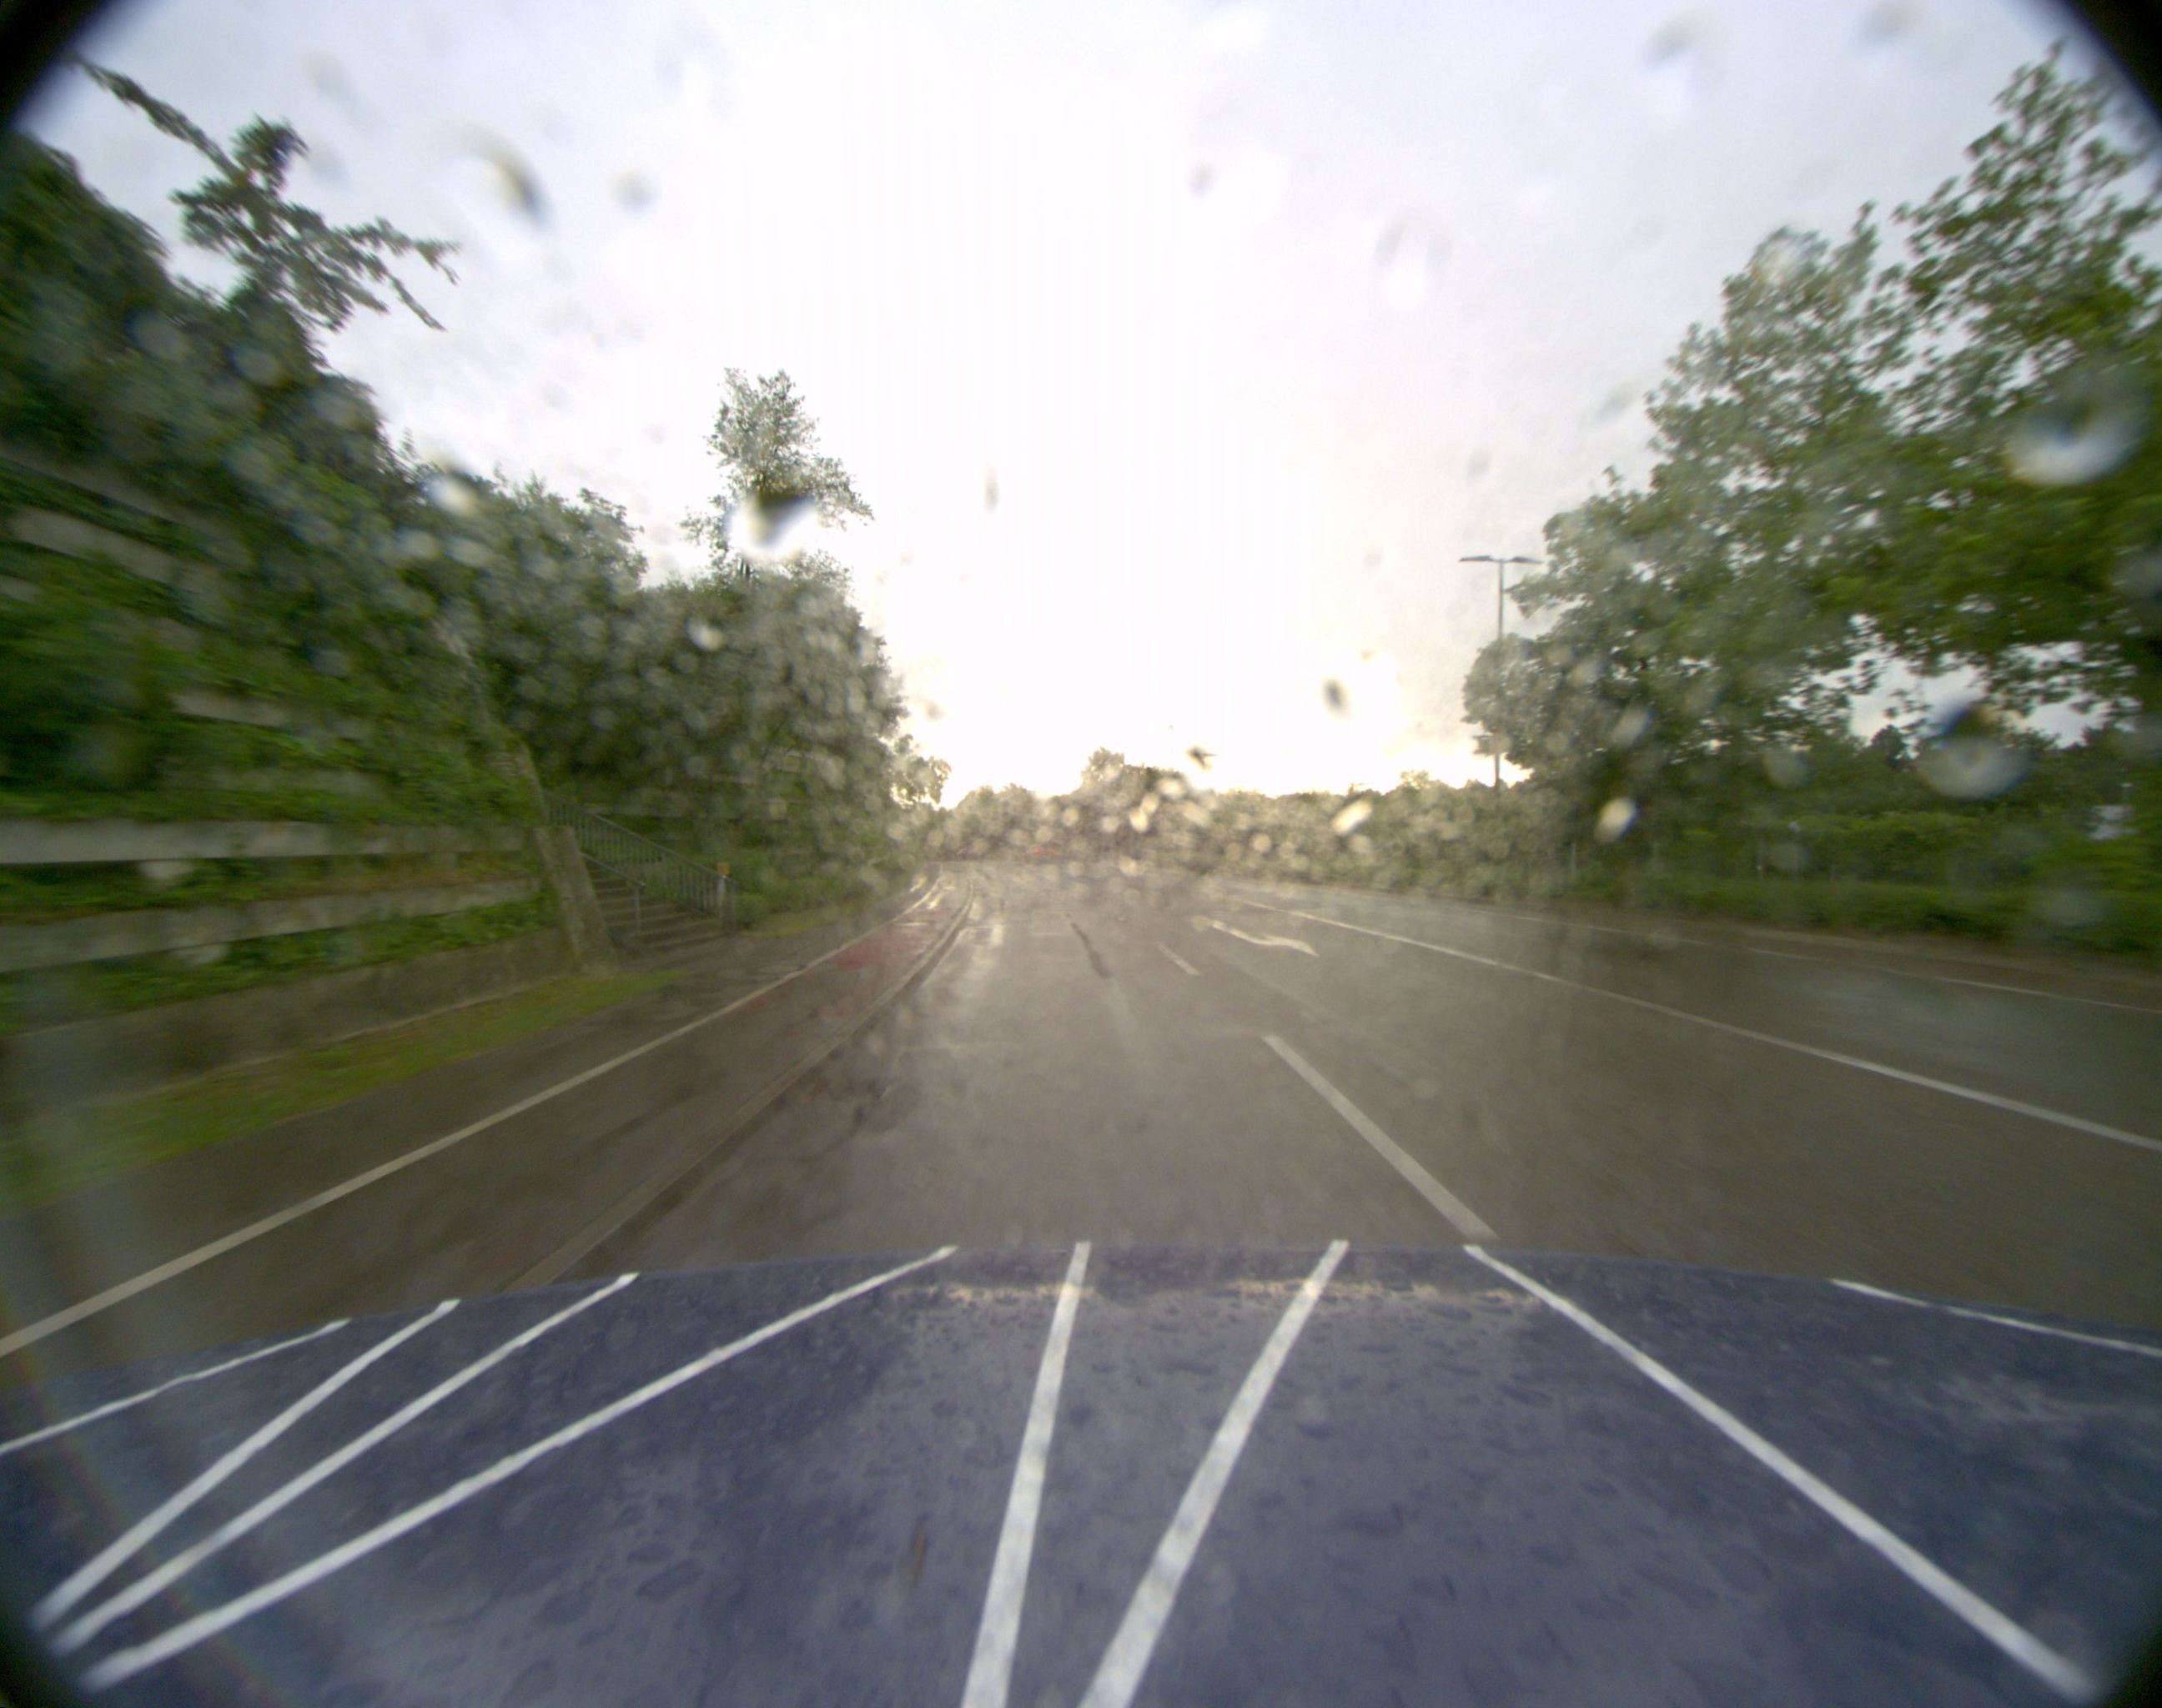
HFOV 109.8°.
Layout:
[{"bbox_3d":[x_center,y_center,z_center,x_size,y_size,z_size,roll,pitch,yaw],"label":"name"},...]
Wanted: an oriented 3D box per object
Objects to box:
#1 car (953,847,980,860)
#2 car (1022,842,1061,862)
[{"bbox_3d":[-13.978,-0.040,92.622,1.731,1.454,4.532,-4,2,-30],"label":"car"},{"bbox_3d":[-3.238,-0.157,61.078,1.762,1.526,3.992,-2,1,-25],"label":"car"}]
